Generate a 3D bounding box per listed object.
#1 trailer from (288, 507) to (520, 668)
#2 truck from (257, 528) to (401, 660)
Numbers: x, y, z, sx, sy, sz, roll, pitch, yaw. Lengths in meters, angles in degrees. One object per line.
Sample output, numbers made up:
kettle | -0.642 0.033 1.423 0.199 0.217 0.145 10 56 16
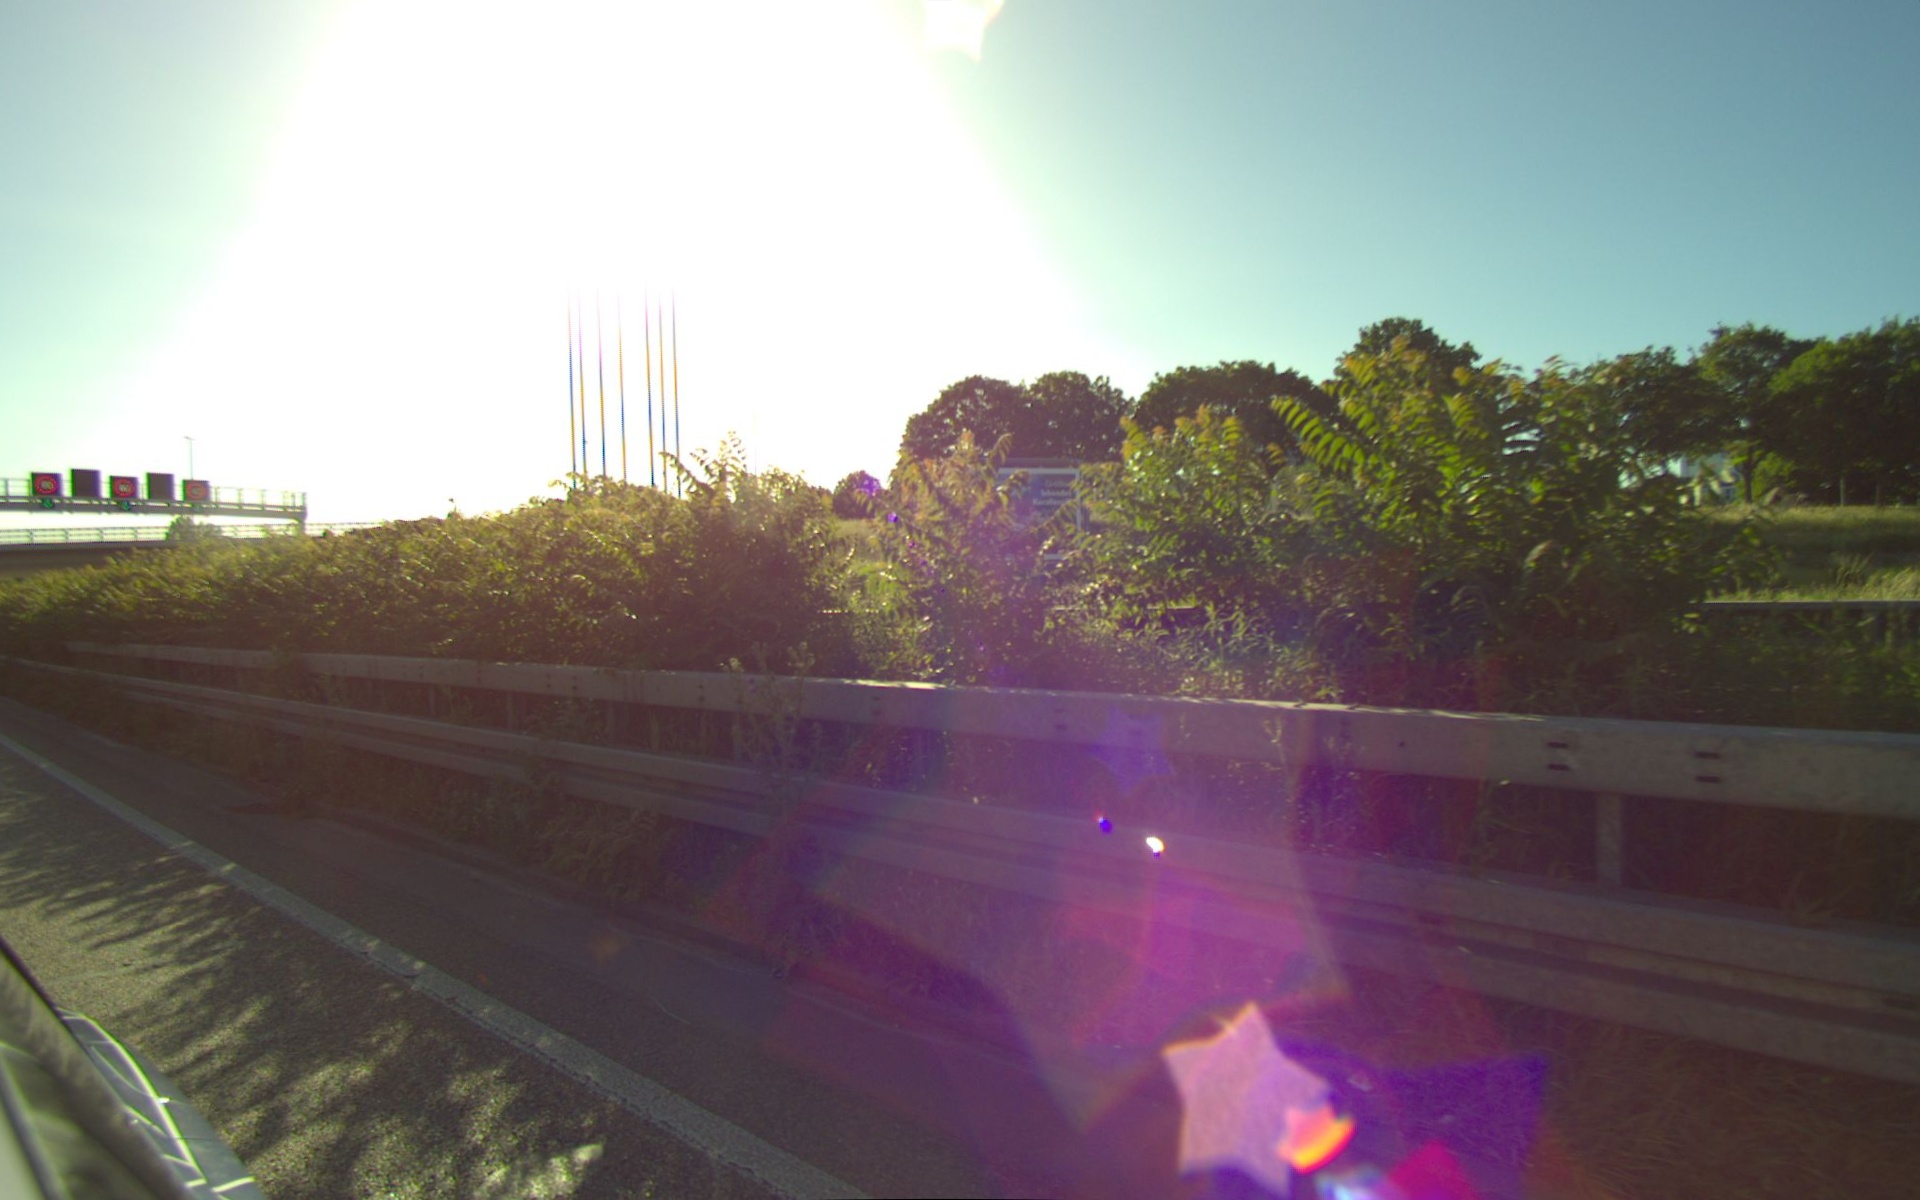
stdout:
trailer | -17.153 -0.229 30.694 10.694 4.154 2.621 -2 0 41
truck | -21.721 -0.151 34.737 5.559 4.154 2.621 -2 0 41
